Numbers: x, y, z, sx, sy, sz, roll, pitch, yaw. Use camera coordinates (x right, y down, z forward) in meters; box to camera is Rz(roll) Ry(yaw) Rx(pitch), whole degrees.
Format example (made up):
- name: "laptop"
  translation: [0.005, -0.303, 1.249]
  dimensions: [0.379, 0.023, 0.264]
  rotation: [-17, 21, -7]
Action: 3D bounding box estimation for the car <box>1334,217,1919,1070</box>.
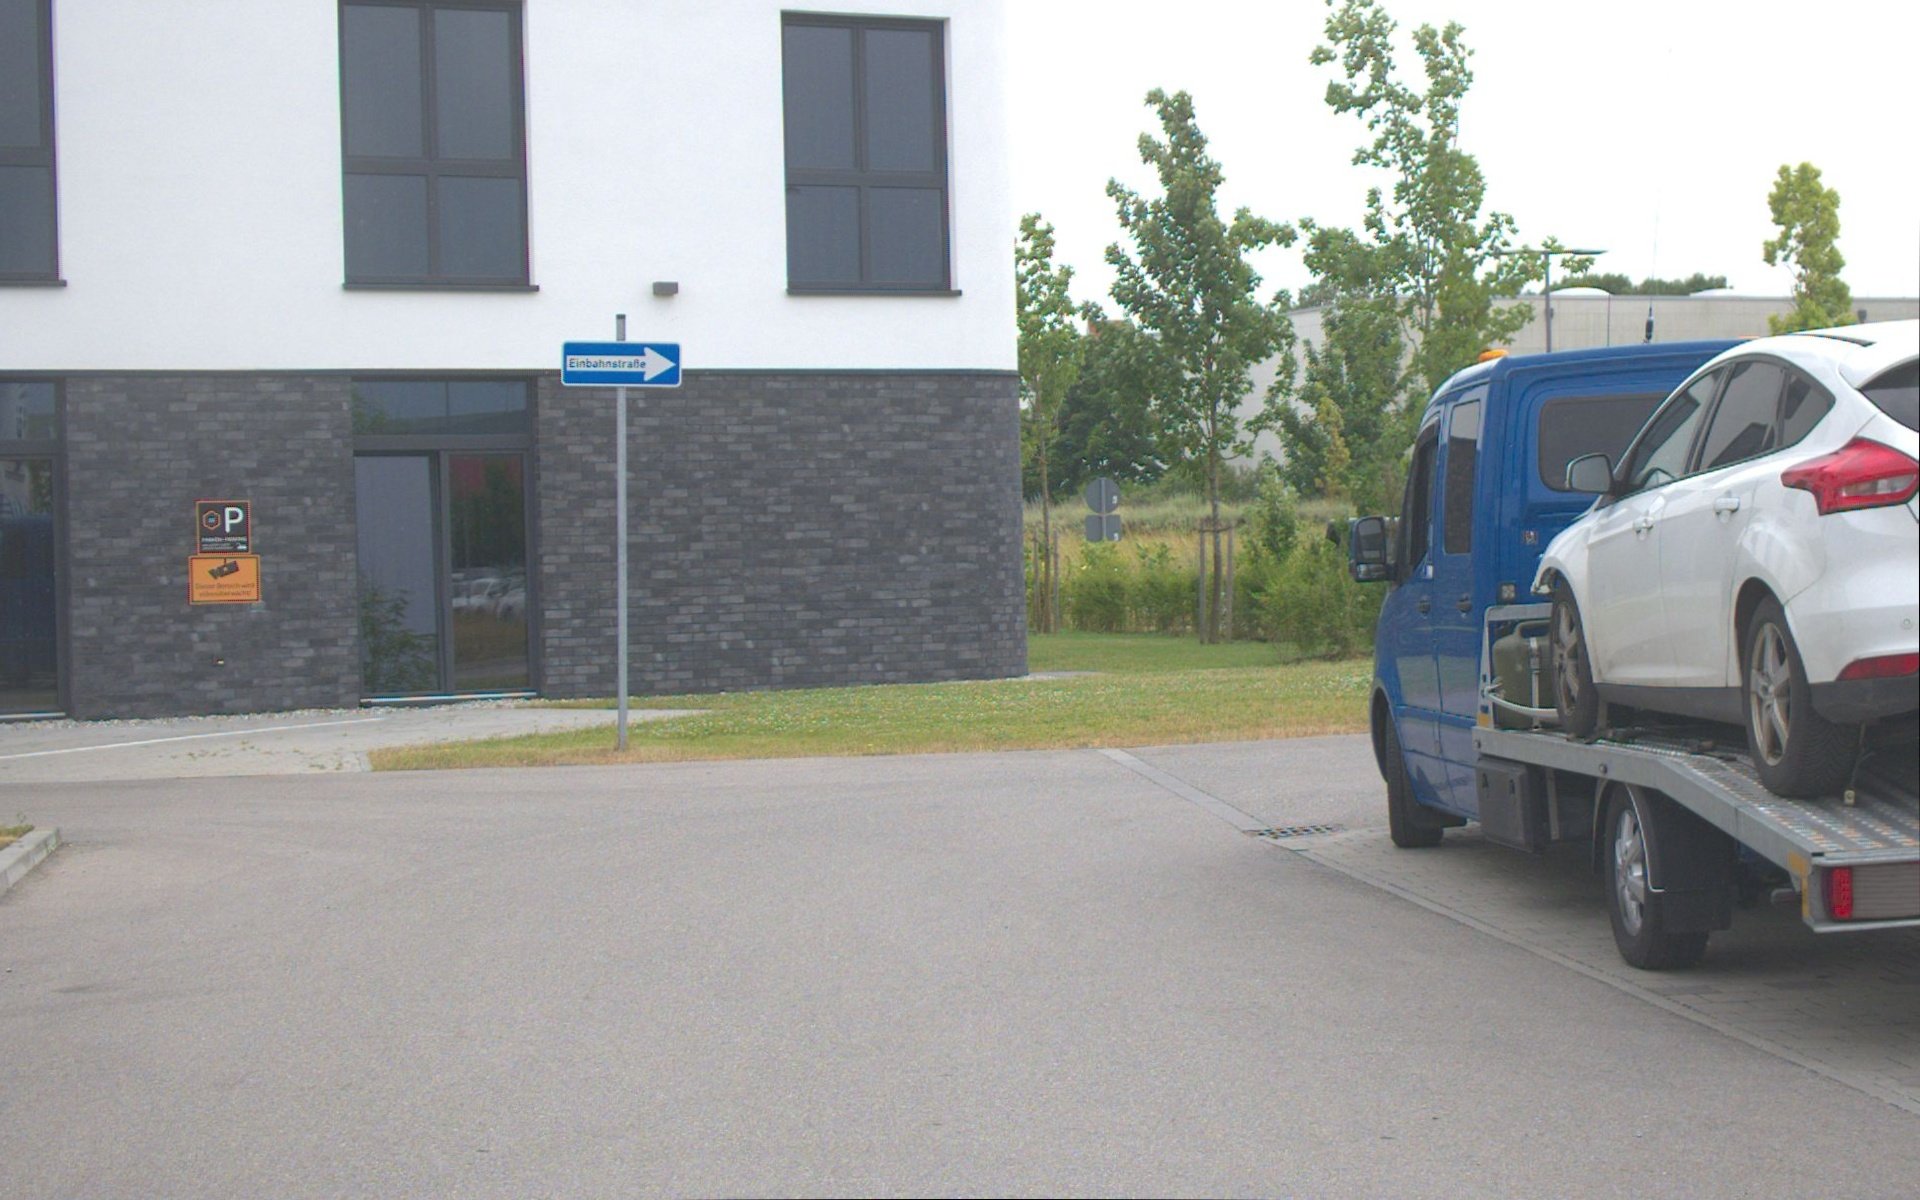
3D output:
- name: "car"
  translation: [3.151, 0.043, 13.325]
  dimensions: [2.194, 2.314, 7.858]
  rotation: [-1, 1, -2]
